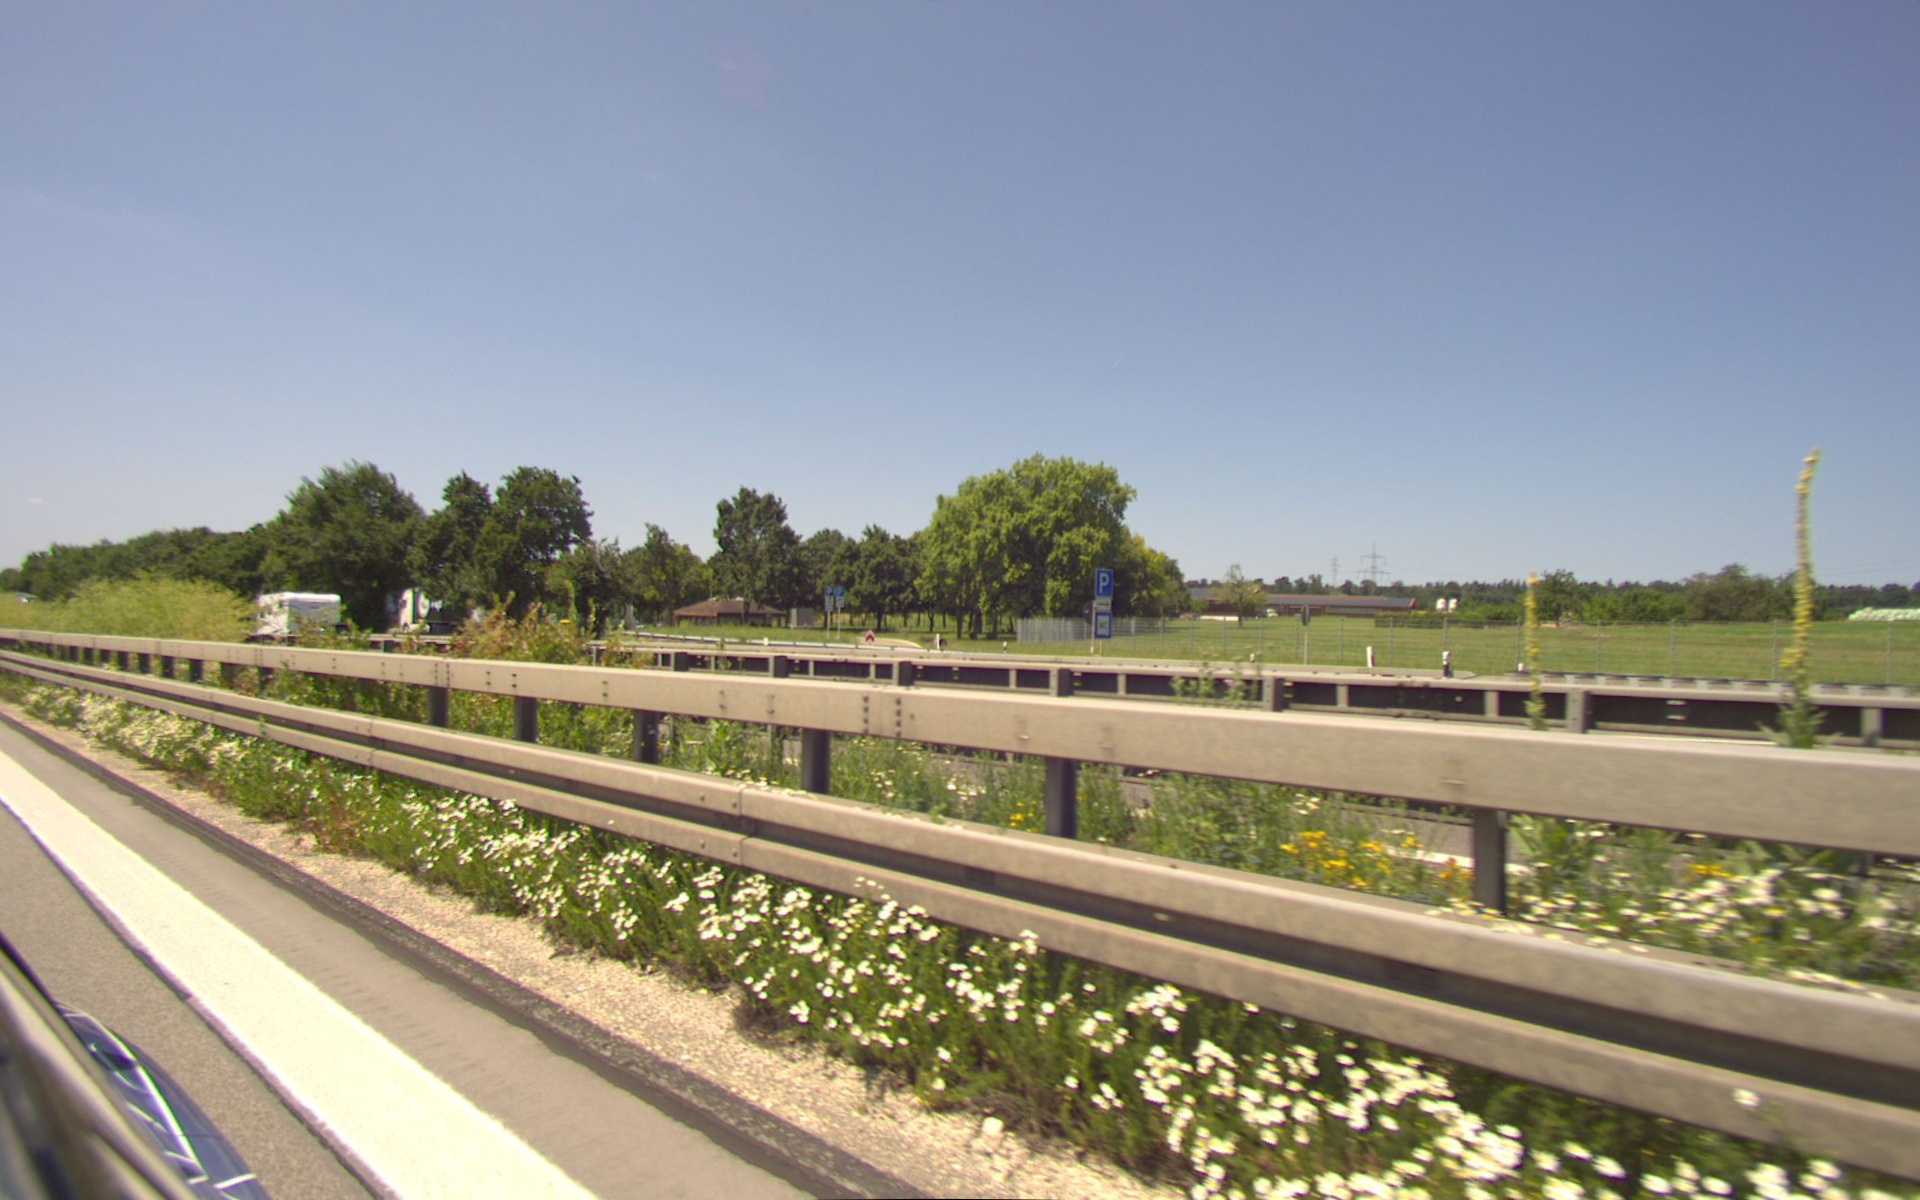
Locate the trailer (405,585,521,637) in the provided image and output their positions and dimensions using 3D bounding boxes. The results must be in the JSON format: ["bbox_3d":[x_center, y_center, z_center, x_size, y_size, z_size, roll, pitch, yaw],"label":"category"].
[{"bbox_3d":[-39.425,0.825,79.907,14.402,3.807,2.740,0,0,41],"label":"trailer"}]

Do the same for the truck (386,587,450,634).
[{"bbox_3d":[-45.773,0.874,85.388,6.095,3.811,2.768,0,0,41],"label":"truck"}]

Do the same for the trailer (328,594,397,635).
[{"bbox_3d":[-55.345,1.302,93.634,8.704,3.689,2.520,0,0,39],"label":"trailer"}]

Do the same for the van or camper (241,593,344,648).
[{"bbox_3d":[-33.247,1.007,50.338,6.705,2.555,2.510,-1,-1,41],"label":"van or camper"}]
